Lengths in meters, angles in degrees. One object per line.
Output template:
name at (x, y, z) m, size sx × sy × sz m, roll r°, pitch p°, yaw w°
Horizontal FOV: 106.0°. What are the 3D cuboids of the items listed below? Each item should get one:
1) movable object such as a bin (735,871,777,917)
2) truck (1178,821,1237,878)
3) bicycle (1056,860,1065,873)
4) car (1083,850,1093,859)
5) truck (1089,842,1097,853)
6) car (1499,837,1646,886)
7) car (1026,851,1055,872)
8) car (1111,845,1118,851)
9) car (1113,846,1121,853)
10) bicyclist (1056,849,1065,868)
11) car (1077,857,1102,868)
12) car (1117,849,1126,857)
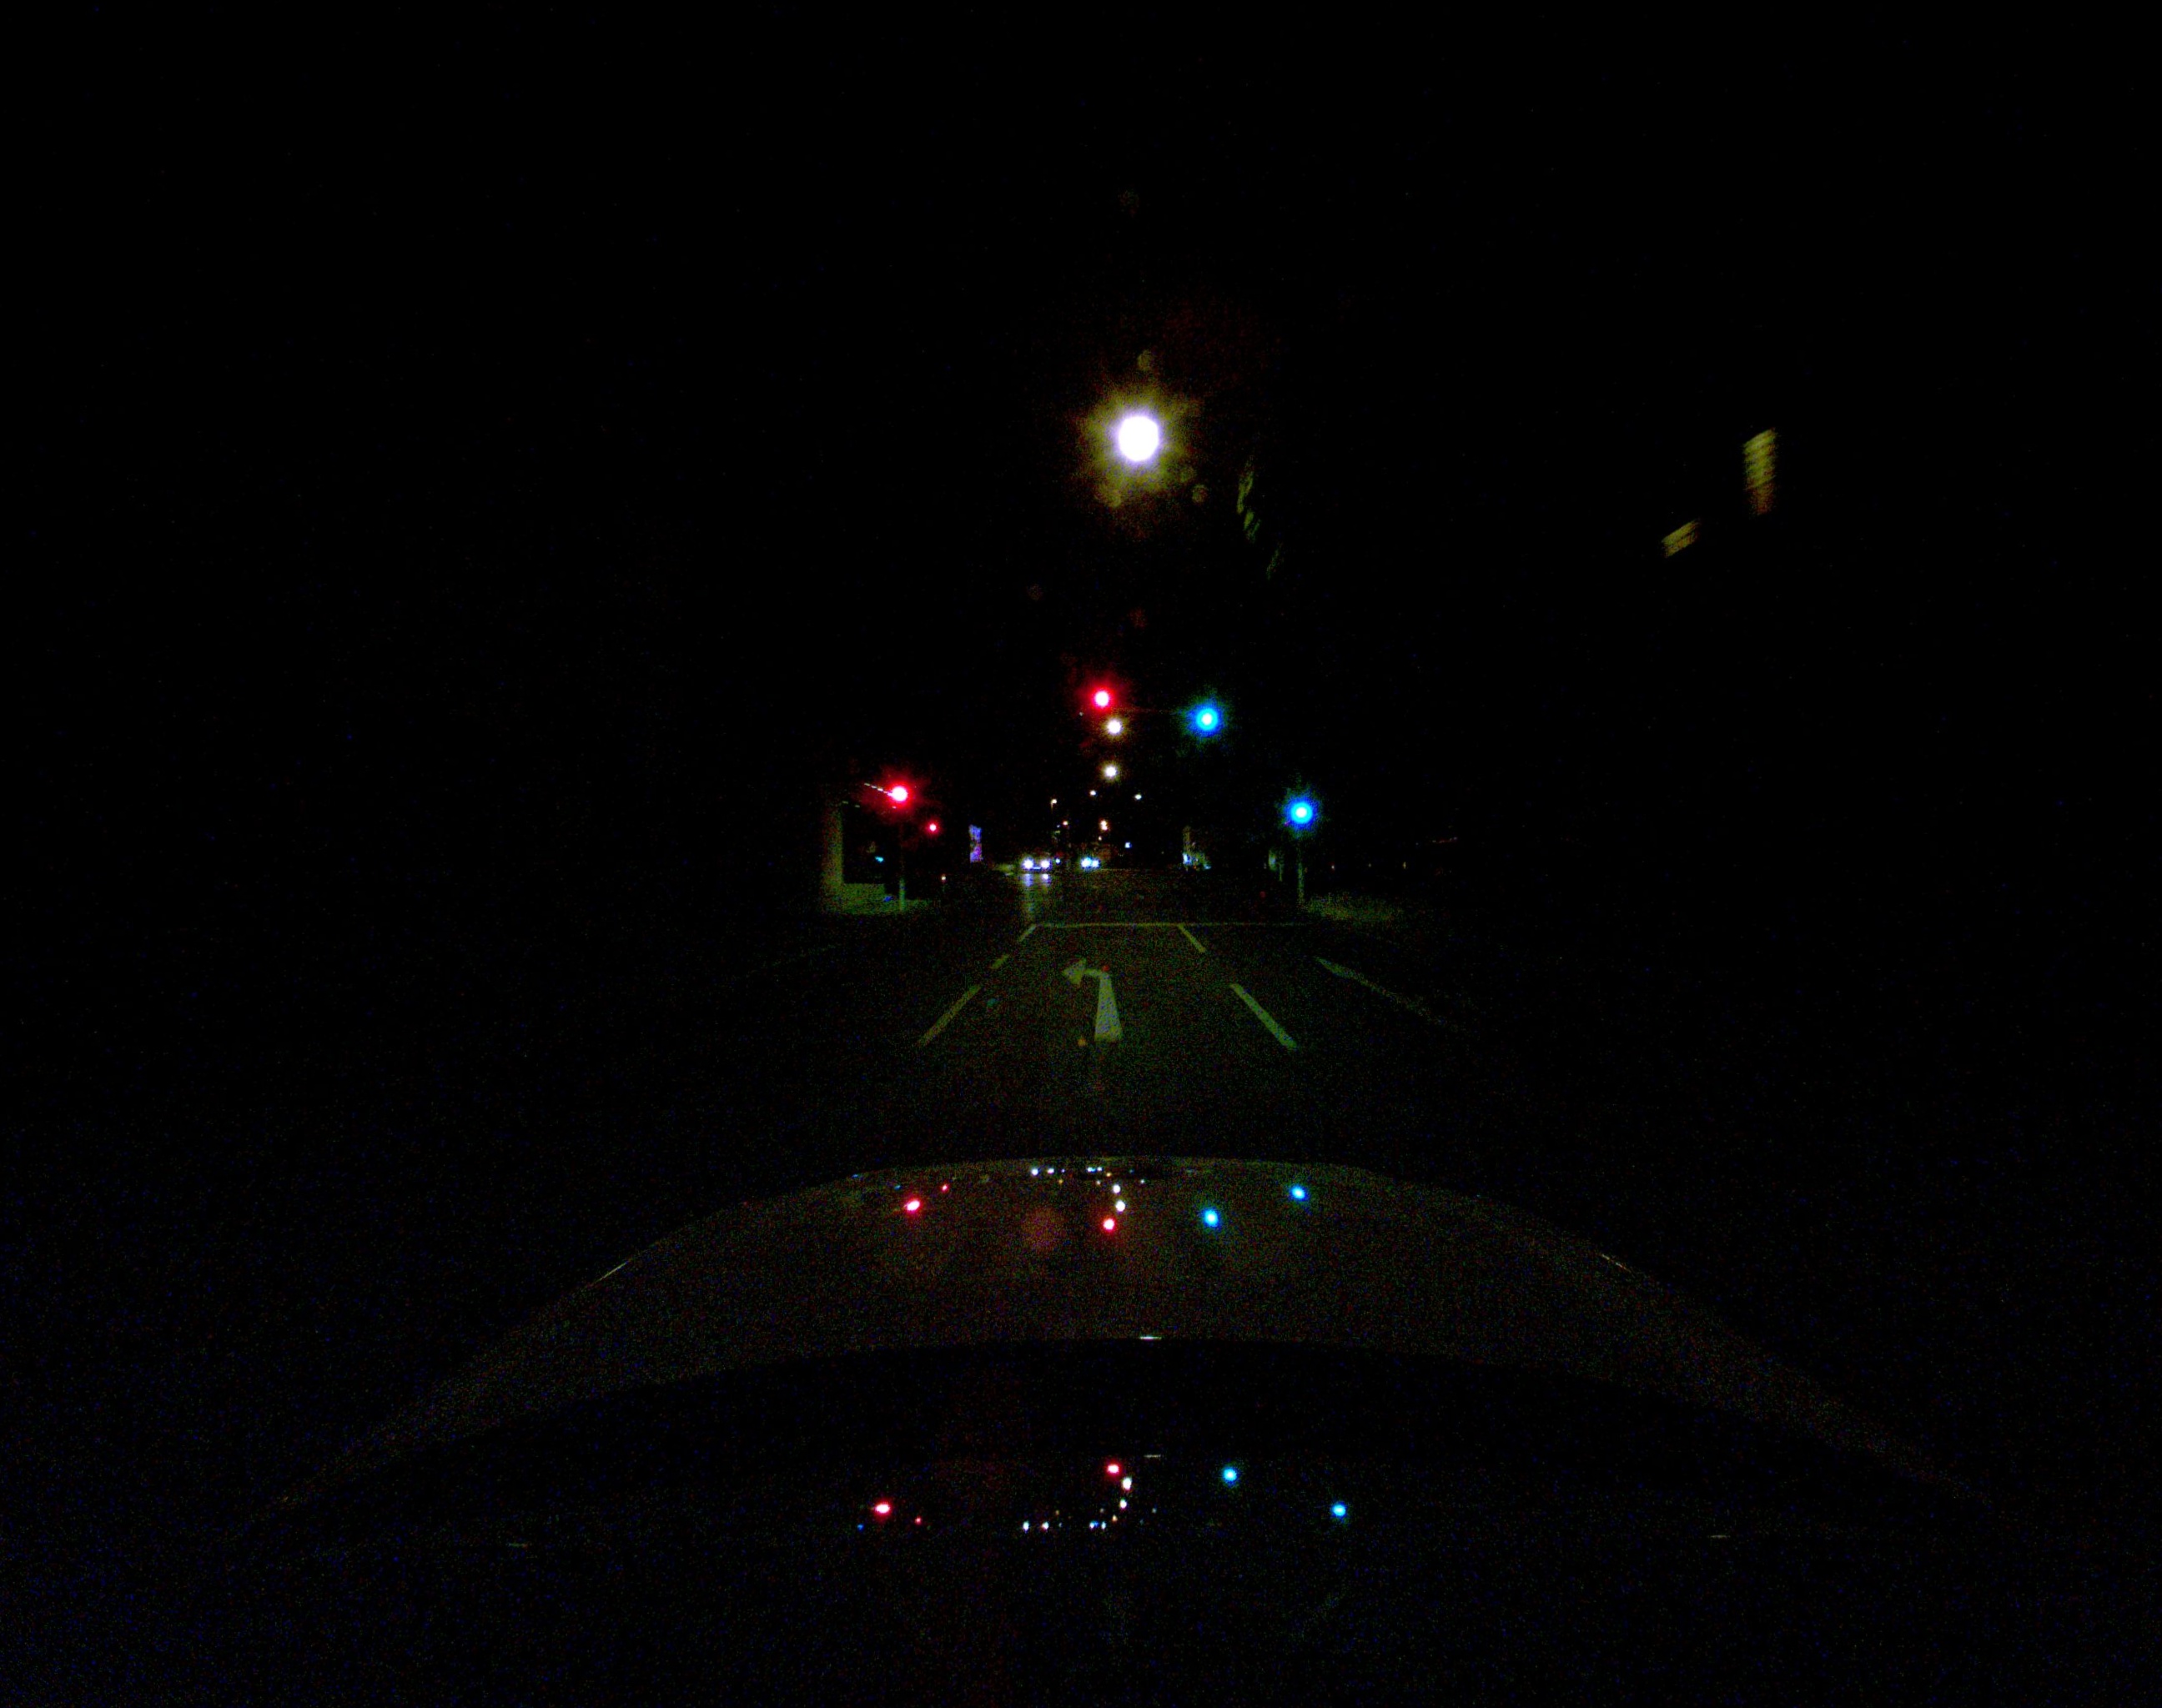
movable object such as a bin at (-7.585, 0.922, 19.025) m, size 0.633 × 1.049 × 0.657 m, roll -1°, pitch -1°, yaw 19°
truck at (7.324, -0.246, 47.966) m, size 2.738 × 3.110 × 6.262 m, roll 0°, pitch 0°, yaw 2°
bicycle at (-1.791, 1.070, 70.418) m, size 0.693 × 1.149 × 1.951 m, roll -1°, pitch 0°, yaw 2°
car at (1.319, 0.103, 148.457) m, size 1.808 × 1.684 × 4.002 m, roll -1°, pitch 0°, yaw 2°
truck at (3.333, -1.787, 223.222) m, size 2.080 × 2.848 × 5.831 m, roll 0°, pitch 0°, yaw 0°
car at (17.703, 0.267, 29.481) m, size 4.107 × 1.280 × 1.770 m, roll -7°, pitch -1°, yaw 8°
car at (-2.942, 0.545, 60.370) m, size 1.850 × 1.534 × 4.029 m, roll 0°, pitch 0°, yaw 1°
car at (8.397, -1.420, 204.982) m, size 1.628 × 1.451 × 3.486 m, roll 0°, pitch 0°, yaw 2°
car at (7.551, -0.997, 172.762) m, size 1.628 × 1.451 × 3.486 m, roll 0°, pitch 0°, yaw 2°
bicyclist at (-1.795, 0.416, 70.345) m, size 0.688 × 1.637 × 0.896 m, roll -1°, pitch -1°, yaw 1°
car at (1.020, 1.019, 100.723) m, size 1.920 × 1.388 × 4.559 m, roll 0°, pitch 0°, yaw -15°
car at (7.800, -0.256, 156.741) m, size 1.628 × 1.451 × 3.486 m, roll 0°, pitch 0°, yaw 2°
